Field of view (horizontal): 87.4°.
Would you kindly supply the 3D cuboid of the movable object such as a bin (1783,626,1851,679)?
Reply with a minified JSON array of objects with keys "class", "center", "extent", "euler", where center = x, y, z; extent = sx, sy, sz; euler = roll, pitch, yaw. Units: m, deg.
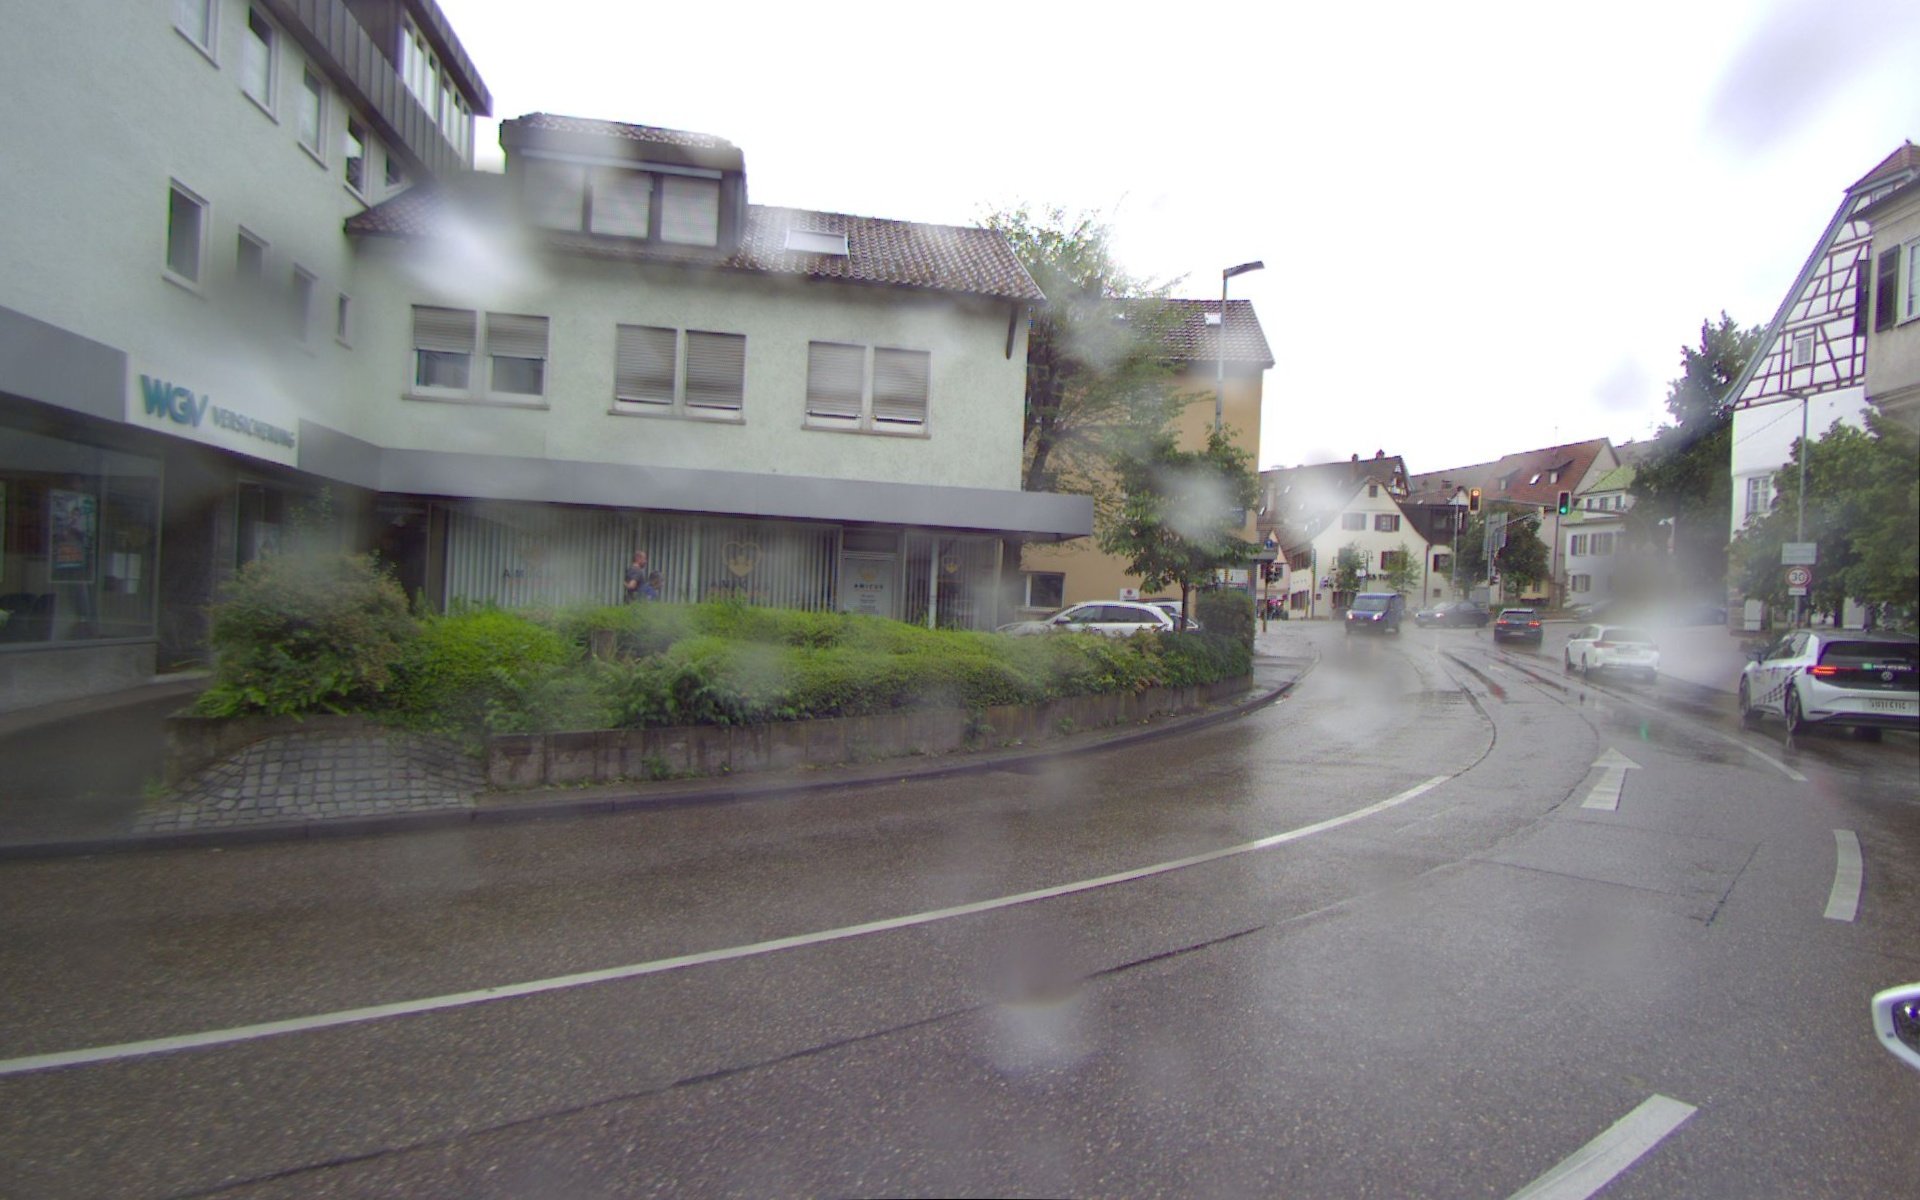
[{"class":"movable object such as a bin","center":[23.137,1.406,27.154],"extent":[1.137,1.330,1.184],"euler":[2,0,29]}]

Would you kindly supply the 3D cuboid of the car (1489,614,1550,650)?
[{"class":"car","center":[23.777,1.328,42.623],"extent":[1.966,1.319,3.989],"euler":[3,2,33]}]

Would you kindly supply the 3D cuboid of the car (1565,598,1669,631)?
[{"class":"car","center":[36.662,0.820,56.157],"extent":[4.388,1.612,2.001],"euler":[3,0,8]}]

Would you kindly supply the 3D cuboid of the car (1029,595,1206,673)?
[{"class":"car","center":[4.502,0.962,29.285],"extent":[4.835,1.850,1.963],"euler":[-4,2,4]}]

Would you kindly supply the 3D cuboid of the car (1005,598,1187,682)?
[{"class":"car","center":[2.882,0.841,21.905],"extent":[3.576,1.650,1.999],"euler":[2,0,-4]}]

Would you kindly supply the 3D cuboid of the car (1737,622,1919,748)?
[{"class":"car","center":[13.245,1.172,15.106],"extent":[1.829,1.493,3.993],"euler":[2,2,29]}]

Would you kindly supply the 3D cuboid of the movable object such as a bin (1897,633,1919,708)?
[{"class":"movable object such as a bin","center":[19.514,1.433,20.341],"extent":[0.405,1.462,0.644],"euler":[0,3,0]}]

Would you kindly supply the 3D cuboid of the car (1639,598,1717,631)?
[{"class":"car","center":[36.073,0.712,50.479],"extent":[3.382,1.544,1.580],"euler":[1,2,-22]}]

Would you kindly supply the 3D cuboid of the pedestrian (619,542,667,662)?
[{"class":"pedestrian","center":[-5.034,0.030,15.982],"extent":[0.662,1.844,0.615],"euler":[2,1,-15]}]

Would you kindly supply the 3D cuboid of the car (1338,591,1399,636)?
[{"class":"car","center":[18.997,0.595,46.611],"extent":[1.964,1.907,4.368],"euler":[3,2,30]}]

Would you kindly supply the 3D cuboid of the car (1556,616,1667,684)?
[{"class":"car","center":[18.771,1.378,29.125],"extent":[1.855,1.617,4.323],"euler":[2,1,22]}]

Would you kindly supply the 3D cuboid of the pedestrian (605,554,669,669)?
[{"class":"pedestrian","center":[-4.915,0.169,15.316],"extent":[0.848,1.694,0.616],"euler":[2,1,-15]}]
